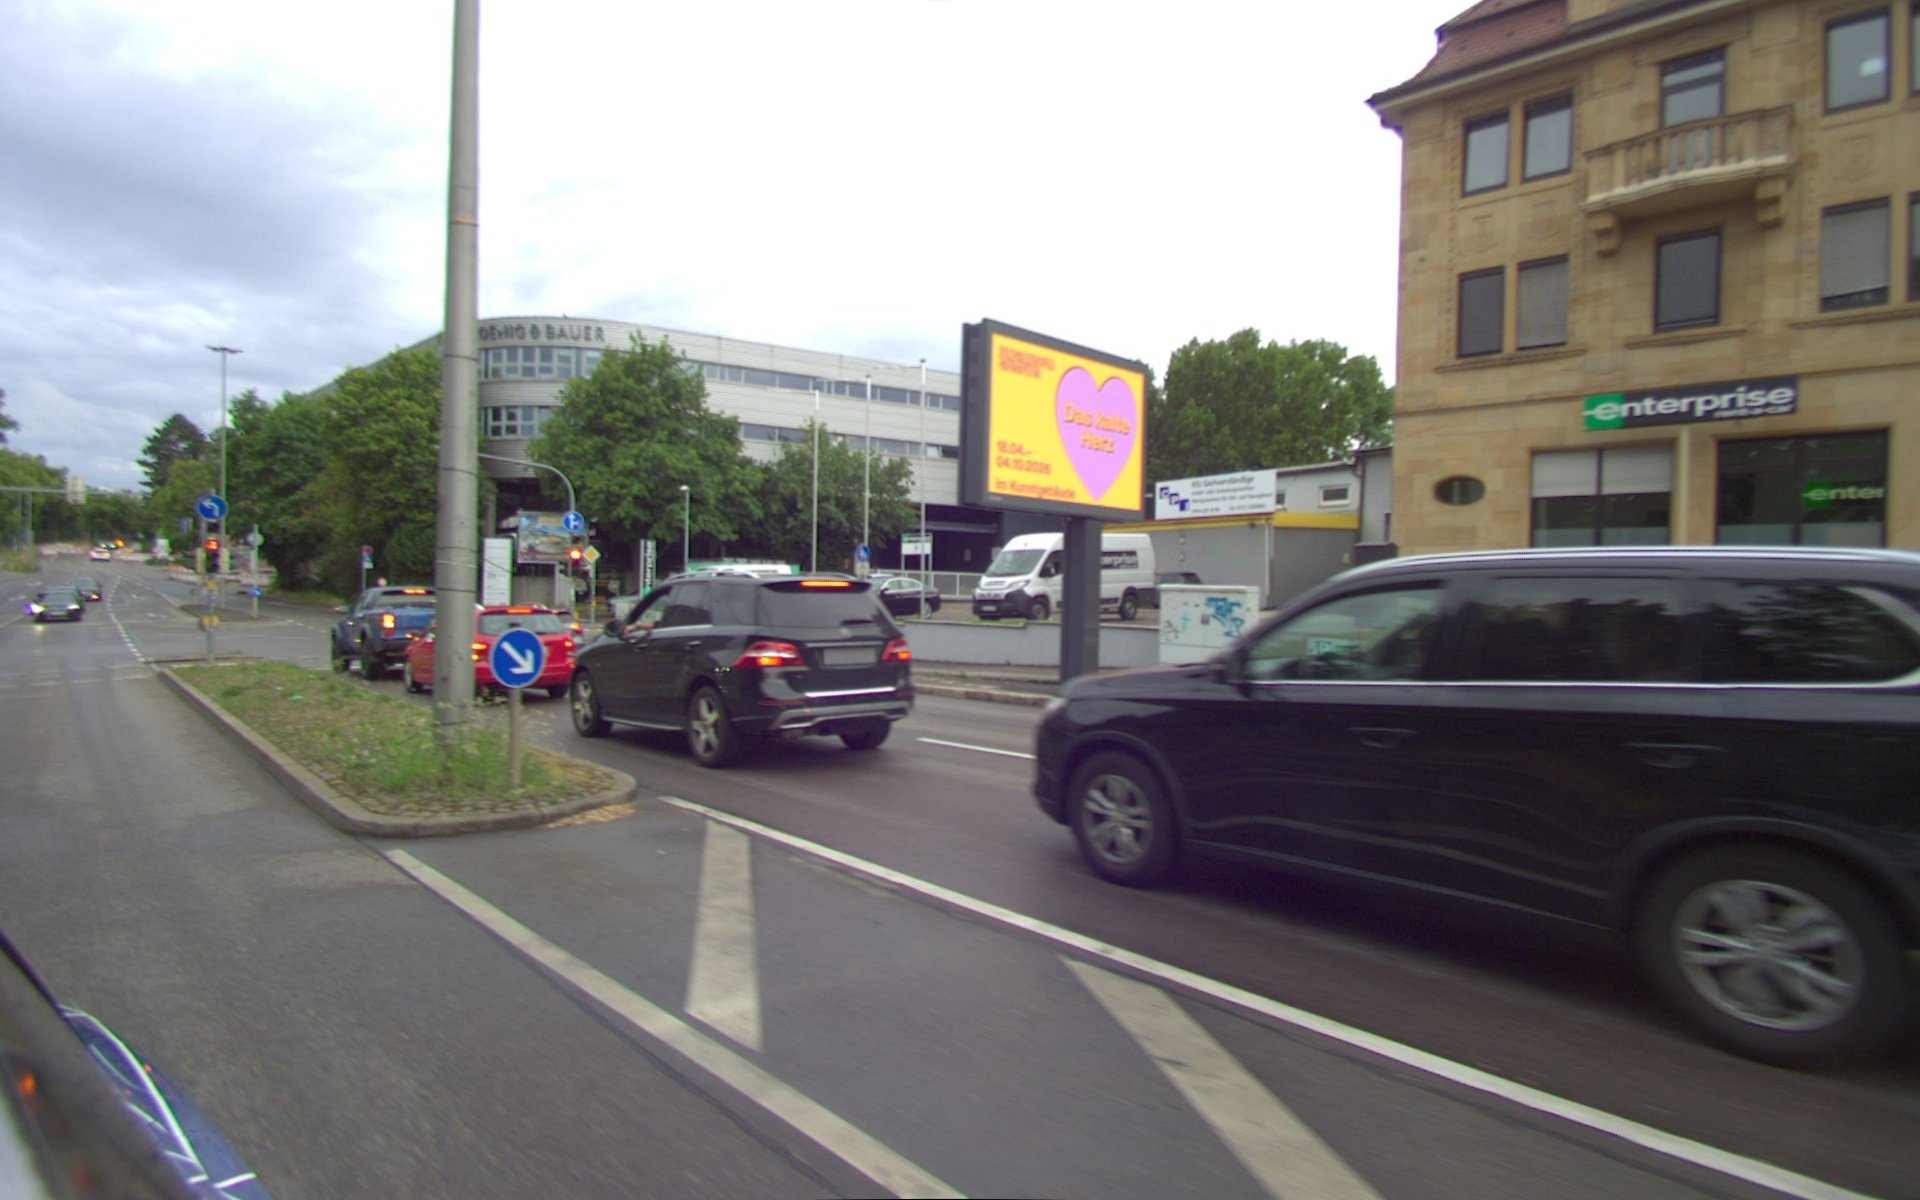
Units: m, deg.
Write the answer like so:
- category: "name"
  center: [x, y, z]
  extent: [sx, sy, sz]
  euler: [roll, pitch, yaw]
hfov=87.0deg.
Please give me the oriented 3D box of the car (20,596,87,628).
- category: "car"
  center: [-42.832, 0.544, 47.909]
  extent: [1.570, 1.269, 3.768]
  euler: [-3, 3, -30]

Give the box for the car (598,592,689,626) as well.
- category: "car"
  center: [-17.133, 0.468, 54.778]
  extent: [4.307, 1.612, 2.041]
  euler: [-3, 2, -30]

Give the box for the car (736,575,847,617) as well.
- category: "car"
  center: [-6.171, -0.191, 37.165]
  extent: [3.568, 1.379, 1.875]
  euler: [-3, 3, -43]

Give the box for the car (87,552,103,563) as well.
- category: "car"
  center: [-113.234, -5.604, 132.462]
  extent: [1.510, 1.324, 3.237]
  euler: [1, 1, -39]

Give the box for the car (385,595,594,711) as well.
- category: "car"
  center: [-7.704, 0.729, 16.328]
  extent: [1.784, 1.542, 4.447]
  euler: [1, 1, -43]

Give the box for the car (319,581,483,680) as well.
- category: "car"
  center: [-11.864, 0.589, 21.288]
  extent: [1.910, 1.832, 5.177]
  euler: [1, -1, -42]

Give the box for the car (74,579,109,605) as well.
- category: "car"
  center: [-56.633, -0.533, 65.993]
  extent: [1.711, 1.589, 3.715]
  euler: [1, 1, -41]

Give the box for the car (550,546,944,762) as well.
- category: "car"
  center: [-2.398, 0.456, 10.394]
  extent: [1.931, 1.710, 4.631]
  euler: [1, -1, -42]

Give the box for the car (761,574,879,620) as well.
- category: "car"
  center: [-4.709, -0.138, 34.237]
  extent: [3.568, 1.379, 1.744]
  euler: [-3, 3, -43]

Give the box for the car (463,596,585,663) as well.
- category: "car"
  center: [-10.922, 0.681, 25.208]
  extent: [1.523, 1.470, 4.075]
  euler: [1, 1, -43]

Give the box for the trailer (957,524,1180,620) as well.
- category: "trailer"
  center: [3.264, -0.715, 28.876]
  extent: [7.014, 2.446, 2.397]
  euler: [0, 1, -44]

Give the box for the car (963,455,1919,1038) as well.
- category: "car"
  center: [2.237, 0.378, 4.504]
  extent: [1.668, 1.616, 4.734]
  euler: [1, 1, -43]

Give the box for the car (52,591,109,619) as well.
- category: "car"
  center: [-49.470, 0.250, 56.992]
  extent: [1.724, 1.380, 3.768]
  euler: [-3, 3, -30]

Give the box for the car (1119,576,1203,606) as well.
- category: "car"
  center: [7.788, -0.355, 39.474]
  extent: [1.300, 1.116, 3.424]
  euler: [1, 1, -29]

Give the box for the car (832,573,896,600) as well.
- category: "car"
  center: [-4.965, -0.696, 51.957]
  extent: [1.551, 1.331, 3.300]
  euler: [0, 1, -44]

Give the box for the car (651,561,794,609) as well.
- category: "car"
  center: [-9.395, -0.578, 40.459]
  extent: [2.218, 1.815, 5.301]
  euler: [1, 1, 40]
